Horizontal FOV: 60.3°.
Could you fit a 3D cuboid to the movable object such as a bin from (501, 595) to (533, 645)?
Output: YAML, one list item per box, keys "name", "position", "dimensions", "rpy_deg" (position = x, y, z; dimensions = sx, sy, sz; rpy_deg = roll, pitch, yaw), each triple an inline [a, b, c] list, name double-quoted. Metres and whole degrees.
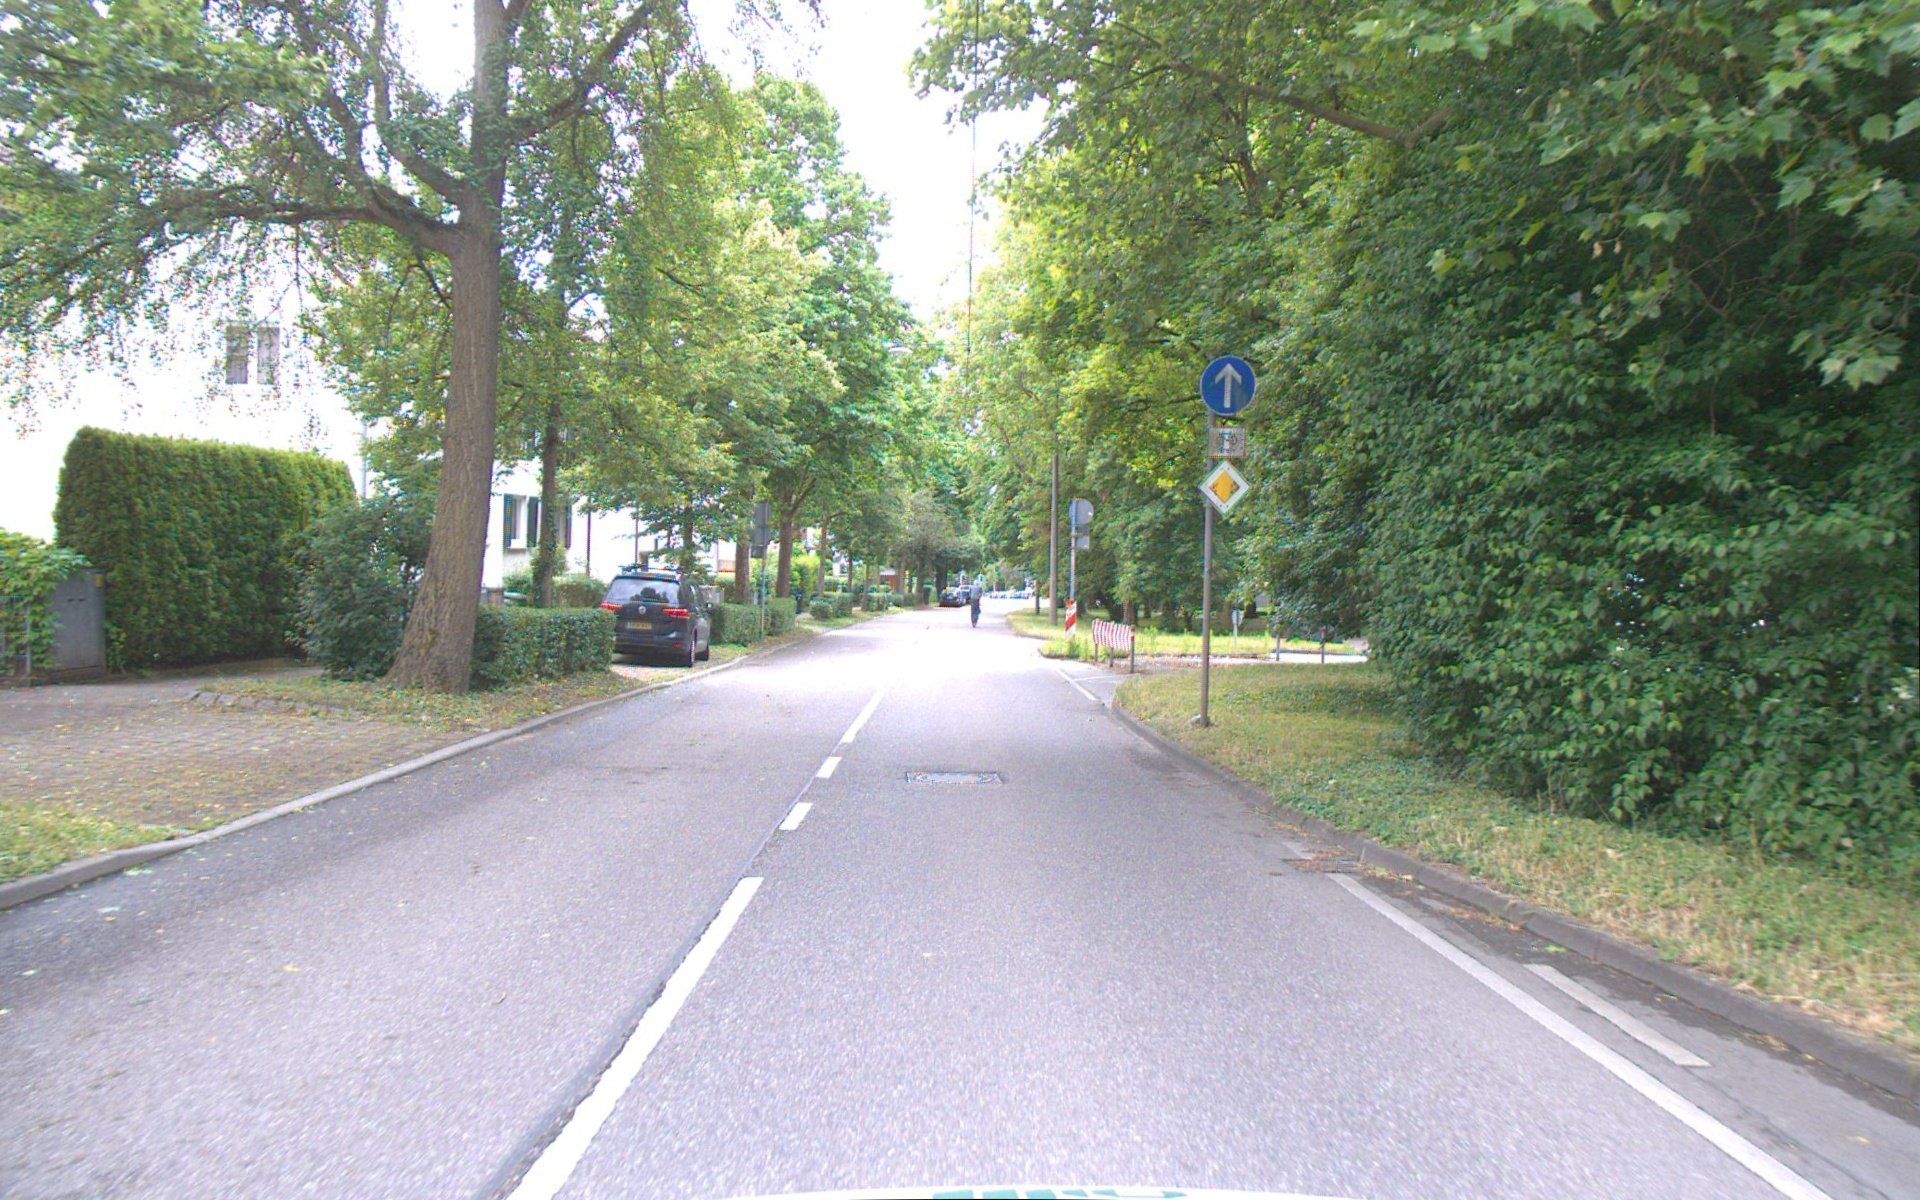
- name: "movable object such as a bin"
  position: [-9.447, 0.425, 35.293]
  dimensions: [0.548, 1.043, 0.601]
  rpy_deg: [1, 0, -5]

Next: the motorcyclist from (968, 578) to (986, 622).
- name: "motorcyclist"
  position: [0.703, -0.005, 68.240]
  dimensions: [0.658, 1.792, 0.639]
  rpy_deg: [3, 0, 4]

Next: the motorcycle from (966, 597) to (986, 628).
- name: "motorcycle"
  position: [0.667, 0.500, 68.050]
  dimensions: [0.658, 1.238, 1.274]
  rpy_deg: [3, 0, 4]

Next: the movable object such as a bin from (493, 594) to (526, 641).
- name: "movable object such as a bin"
  position: [-9.432, 0.367, 34.617]
  dimensions: [0.548, 0.957, 0.640]
  rpy_deg: [1, 0, -5]

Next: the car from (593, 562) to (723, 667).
- name: "car"
  position: [-5.598, 0.237, 31.161]
  dimensions: [1.788, 1.784, 4.451]
  rpy_deg: [2, 0, -3]

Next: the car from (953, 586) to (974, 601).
- name: "car"
  position: [0.370, -0.634, 169.619]
  dimensions: [1.852, 1.435, 4.556]
  rpy_deg: [1, -1, 4]

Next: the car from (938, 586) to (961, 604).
- name: "car"
  position: [-0.865, -0.404, 138.836]
  dimensions: [1.757, 1.498, 4.418]
  rpy_deg: [1, 0, 1]

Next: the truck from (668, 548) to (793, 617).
- name: "truck"
  position: [-11.273, -0.861, 81.500]
  dimensions: [5.677, 3.185, 2.518]
  rpy_deg: [2, 0, 0]
